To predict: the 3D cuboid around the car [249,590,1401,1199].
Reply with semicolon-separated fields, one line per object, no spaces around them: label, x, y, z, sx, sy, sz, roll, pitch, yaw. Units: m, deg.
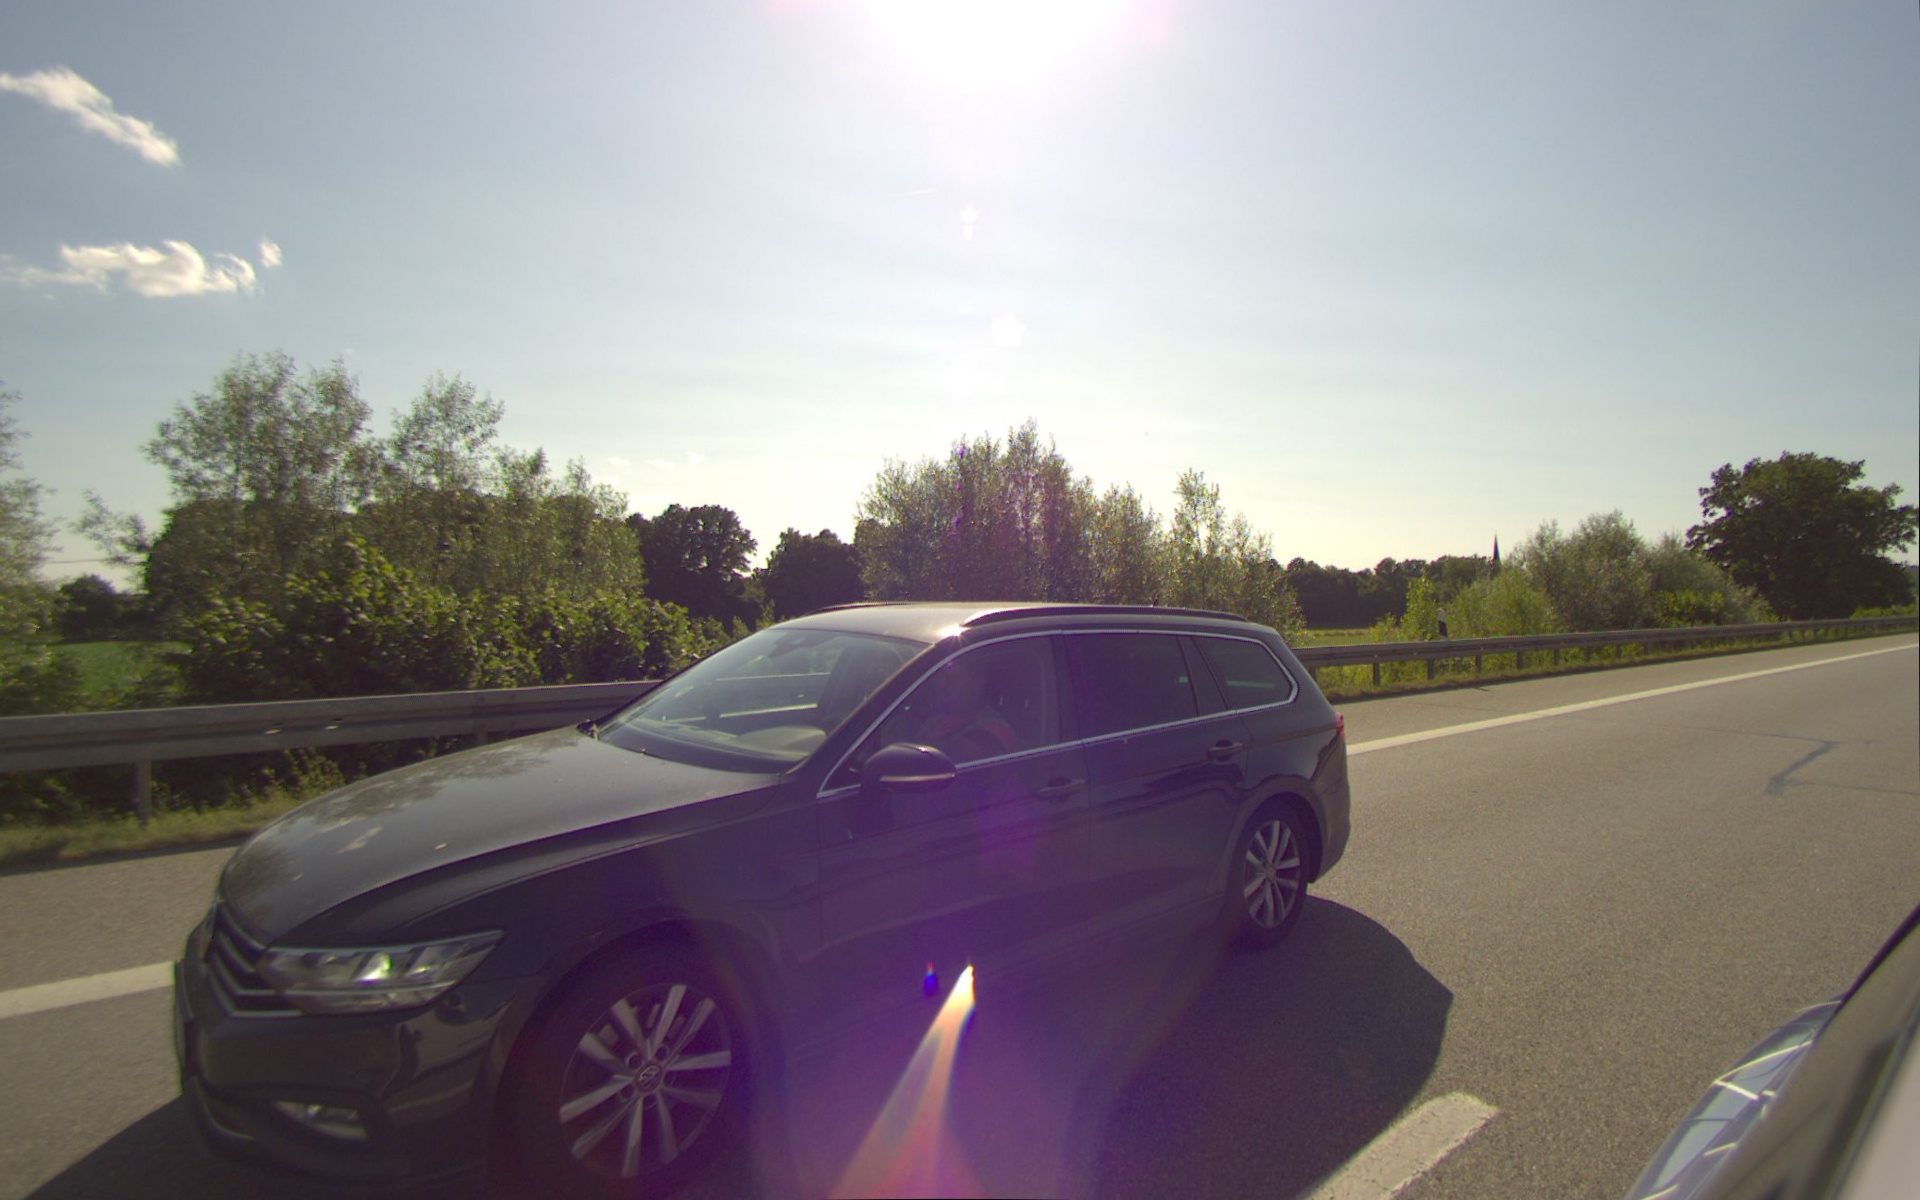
car;-0.108;0.671;4.032;4.336;1.417;1.722;-1;1;-41
